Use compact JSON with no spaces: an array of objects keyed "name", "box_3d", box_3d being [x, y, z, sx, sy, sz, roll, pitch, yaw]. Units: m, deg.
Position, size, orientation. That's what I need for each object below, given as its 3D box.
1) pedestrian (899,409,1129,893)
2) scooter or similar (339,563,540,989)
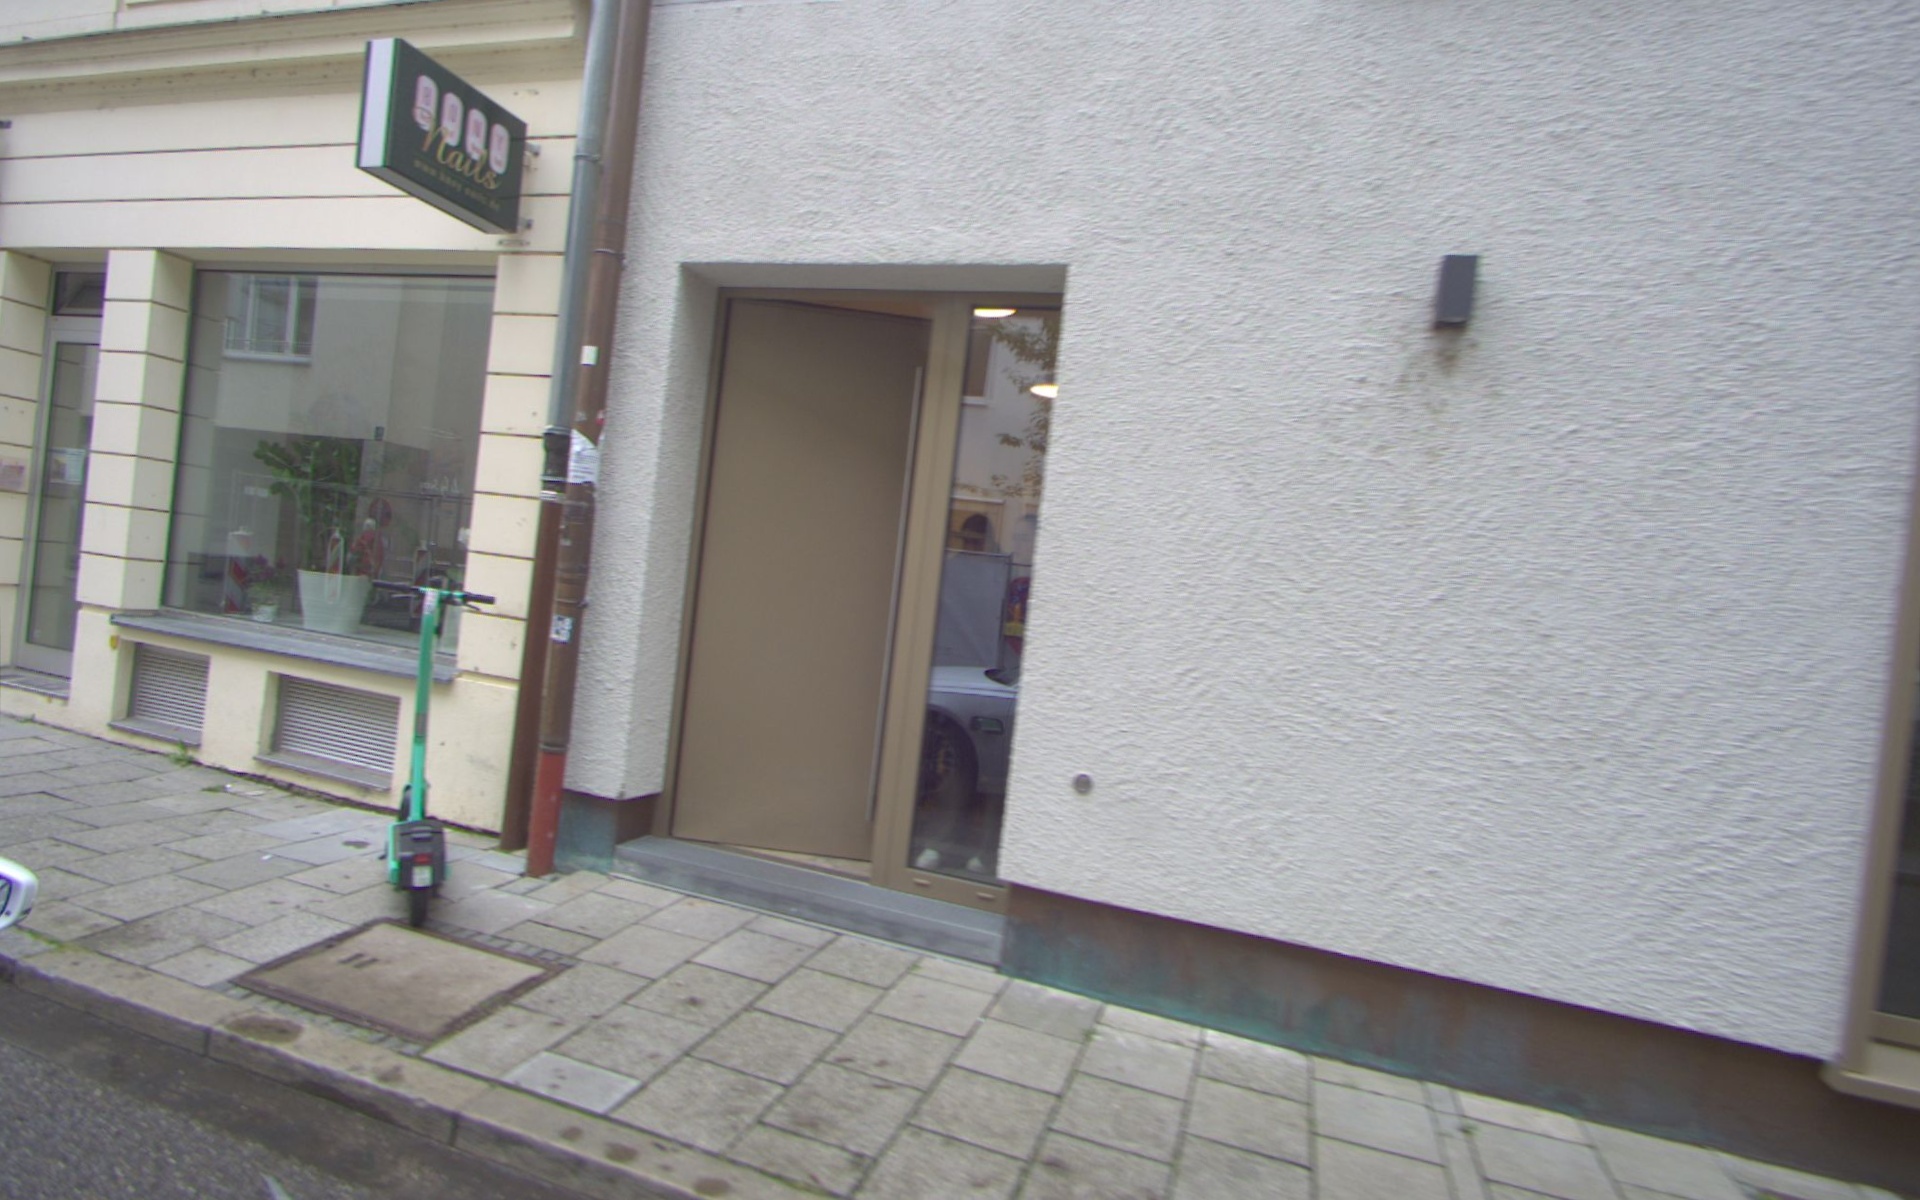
[{"name":"pedestrian","box_3d":[0.225,0.193,4.629,0.433,2.042,0.782,1,7,-44]},{"name":"scooter or similar","box_3d":[-2.005,0.525,3.816,0.489,1.200,1.594,4,4,-30]}]
